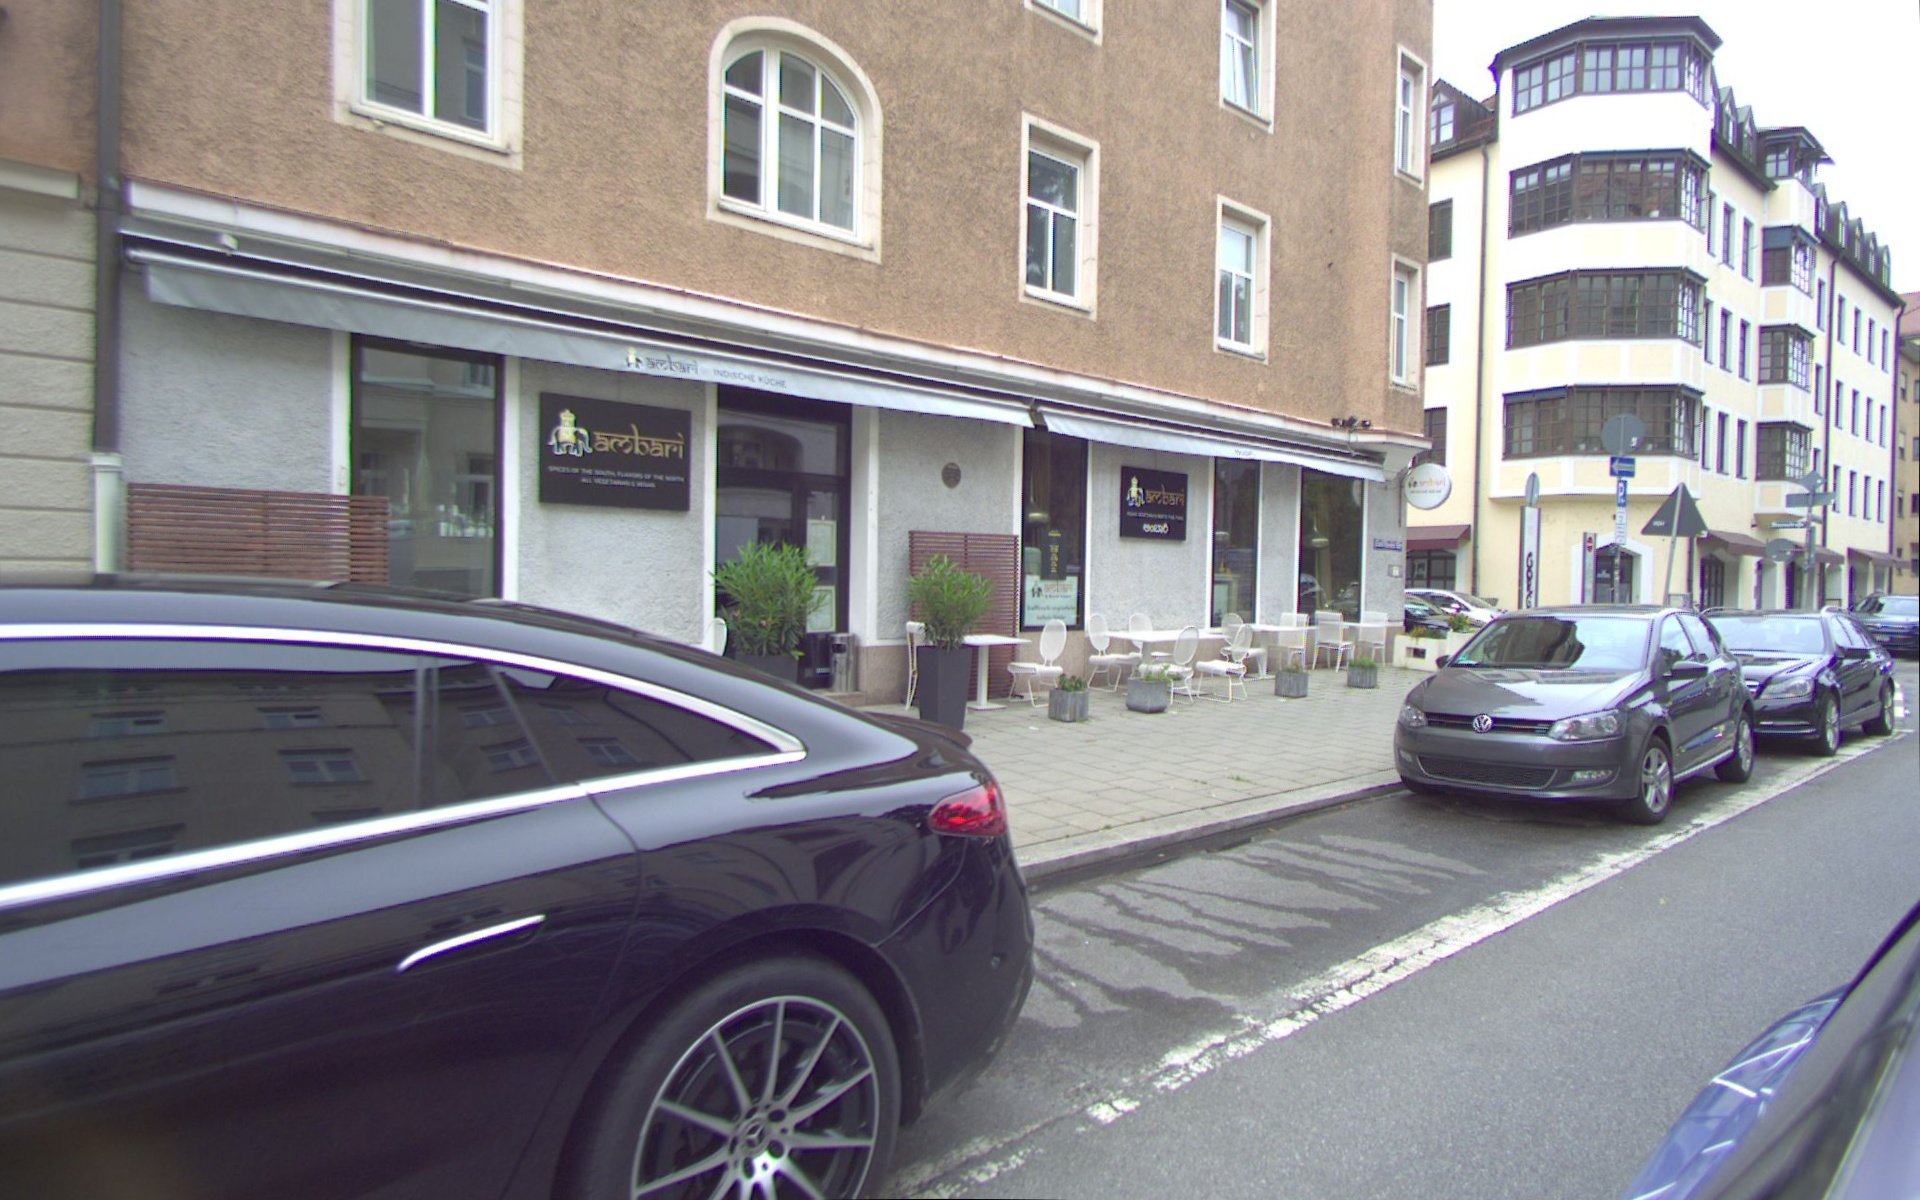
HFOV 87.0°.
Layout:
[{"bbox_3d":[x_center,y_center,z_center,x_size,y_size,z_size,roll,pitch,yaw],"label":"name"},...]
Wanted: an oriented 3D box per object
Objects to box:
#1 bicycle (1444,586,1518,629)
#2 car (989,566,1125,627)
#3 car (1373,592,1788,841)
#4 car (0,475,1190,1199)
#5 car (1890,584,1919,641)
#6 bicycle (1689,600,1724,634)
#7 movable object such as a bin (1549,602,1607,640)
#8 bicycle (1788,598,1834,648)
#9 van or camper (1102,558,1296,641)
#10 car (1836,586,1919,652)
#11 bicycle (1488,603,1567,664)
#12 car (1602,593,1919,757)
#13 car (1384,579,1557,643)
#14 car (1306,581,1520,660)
[{"bbox_3d":[15.515,0.200,30.172,0.506,1.201,1.906,0,2,-37],"label":"bicycle"},{"bbox_3d":[2.904,-0.158,30.997,1.941,1.664,3.998,0,3,-36],"label":"car"},{"bbox_3d":[5.021,0.676,7.949,4.109,1.411,1.575,-1,2,-41],"label":"car"},{"bbox_3d":[-2.064,0.610,1.850,5.537,1.572,1.935,0,1,-41],"label":"car"},{"bbox_3d":[29.876,0.406,30.459,4.085,1.607,1.821,-1,6,-35],"label":"car"},{"bbox_3d":[21.725,0.488,29.439,1.664,0.912,0.263,-1,6,-37],"label":"bicycle"},{"bbox_3d":[16.242,0.534,26.599,0.671,0.911,1.126,0,2,-37],"label":"movable object such as a bin"},{"bbox_3d":[21.823,0.570,25.941,2.015,1.173,0.430,-1,3,-38],"label":"bicycle"},{"bbox_3d":[6.172,-0.113,26.682,1.925,1.942,4.915,-2,3,-37],"label":"van or camper"},{"bbox_3d":[25.690,0.461,27.460,4.415,1.642,2.112,0,2,-39],"label":"car"},{"bbox_3d":[10.229,0.599,18.219,1.769,1.017,0.497,2,2,-37],"label":"bicycle"},{"bbox_3d":[9.024,0.650,11.206,4.702,1.422,1.851,0,1,-39],"label":"car"},{"bbox_3d":[13.619,0.260,27.190,1.718,1.458,3.748,3,0,-34],"label":"car"},{"bbox_3d":[9.860,0.370,22.268,1.858,1.506,3.883,-1,2,-38],"label":"car"}]
